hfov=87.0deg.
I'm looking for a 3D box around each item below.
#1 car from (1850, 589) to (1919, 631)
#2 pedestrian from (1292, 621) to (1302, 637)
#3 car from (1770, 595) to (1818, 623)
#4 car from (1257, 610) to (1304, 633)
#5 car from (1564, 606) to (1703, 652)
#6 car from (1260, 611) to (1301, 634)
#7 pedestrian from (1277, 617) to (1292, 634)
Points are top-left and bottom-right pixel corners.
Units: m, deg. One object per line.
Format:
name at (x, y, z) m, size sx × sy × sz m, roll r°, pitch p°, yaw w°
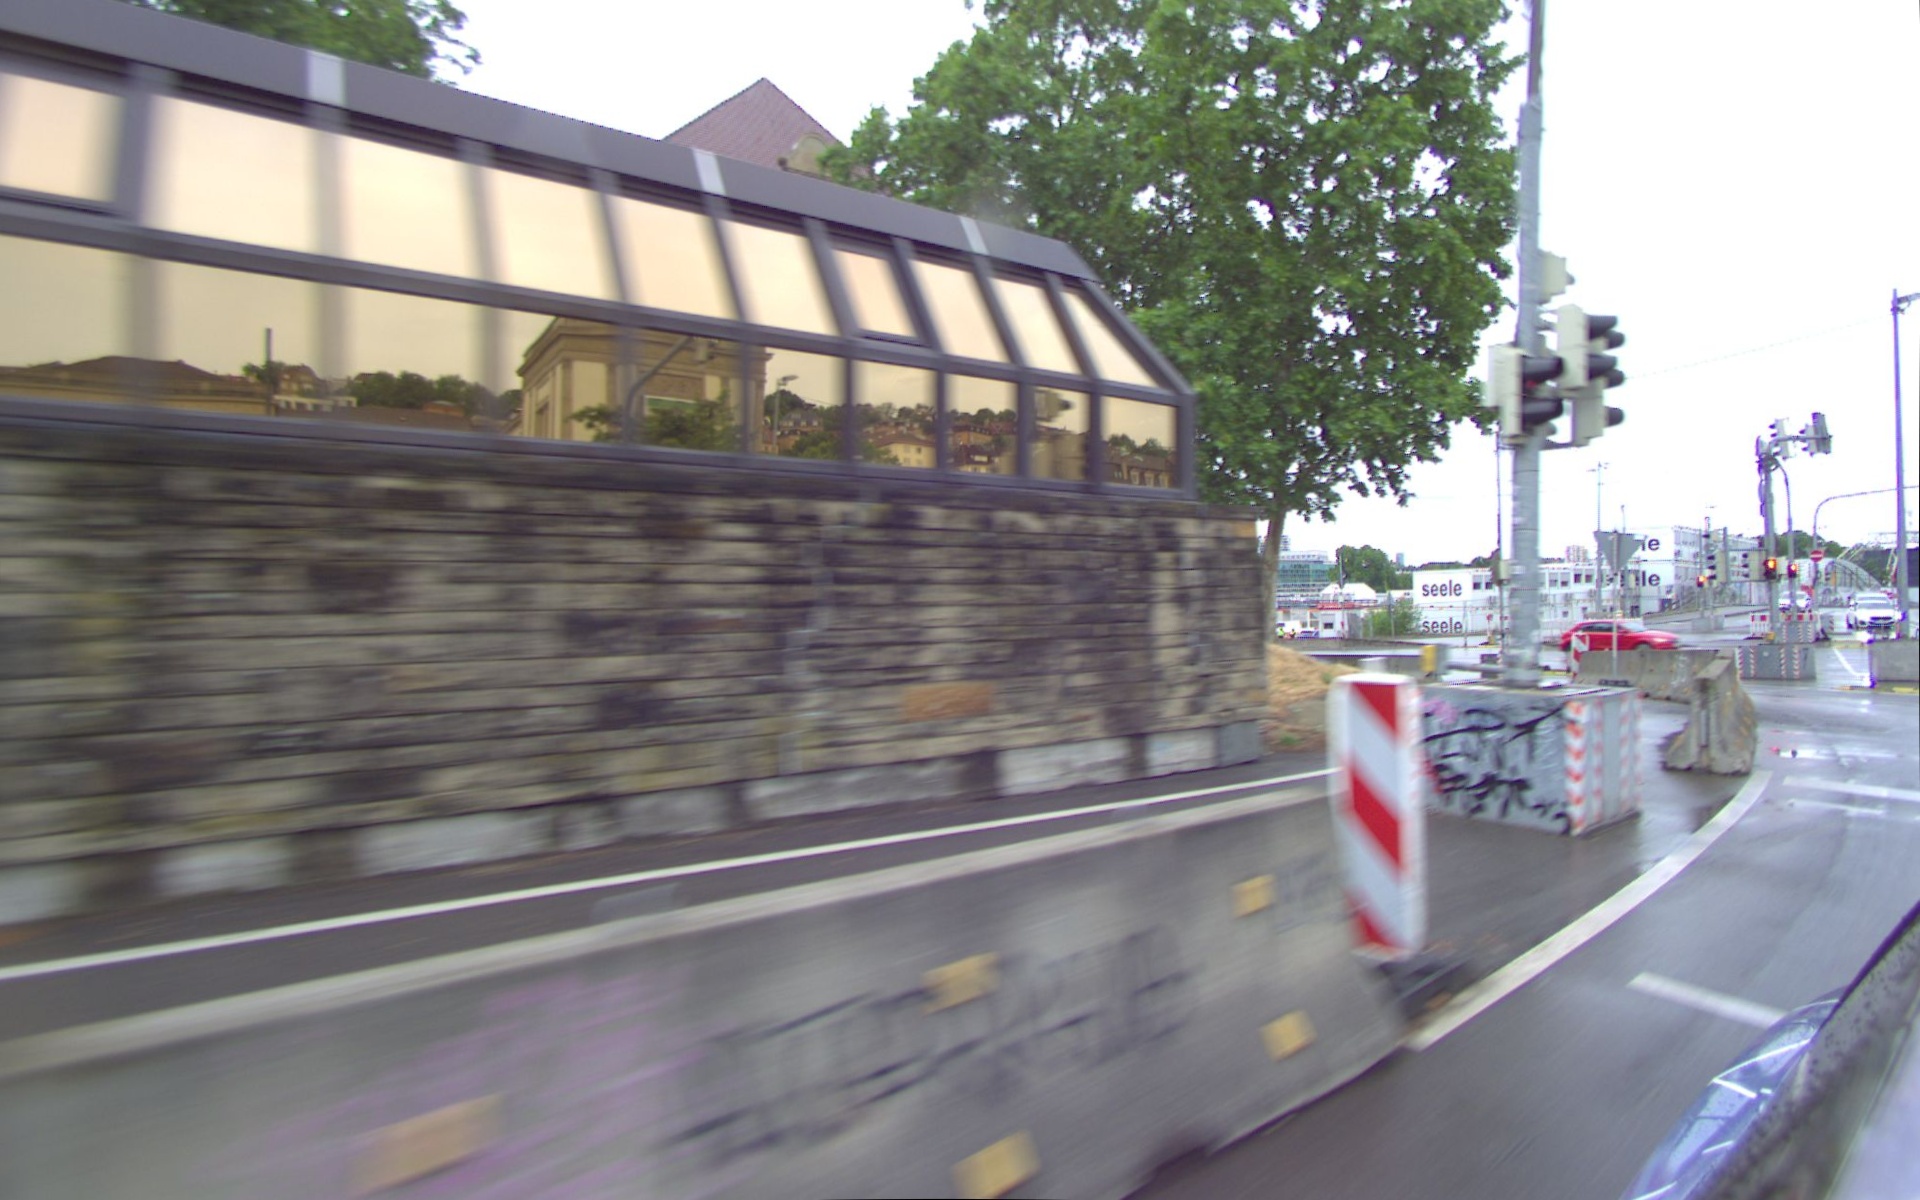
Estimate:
car at (48.800, 0.532, 53.379) m, size 1.984 × 2.040 × 4.372 m, roll -3°, pitch -2°, yaw 32°
pedestrian at (28.234, 2.431, 84.774) m, size 0.736 × 1.370 × 0.832 m, roll -3°, pitch -2°, yaw 21°
car at (58.099, 0.591, 70.448) m, size 4.284 × 1.795 × 1.995 m, roll -1°, pitch -3°, yaw -43°
car at (36.493, 2.440, 115.293) m, size 4.889 × 2.415 × 1.986 m, roll -3°, pitch -2°, yaw 21°
car at (25.427, 1.118, 38.340) m, size 1.660 × 1.572 × 3.996 m, roll -1°, pitch -3°, yaw -37°
car at (35.658, 2.487, 112.740) m, size 3.966 × 2.415 × 1.978 m, roll -3°, pitch -2°, yaw 31°
pedestrian at (27.078, 2.118, 84.419) m, size 0.730 × 1.370 × 0.838 m, roll -1°, pitch -3°, yaw -27°
